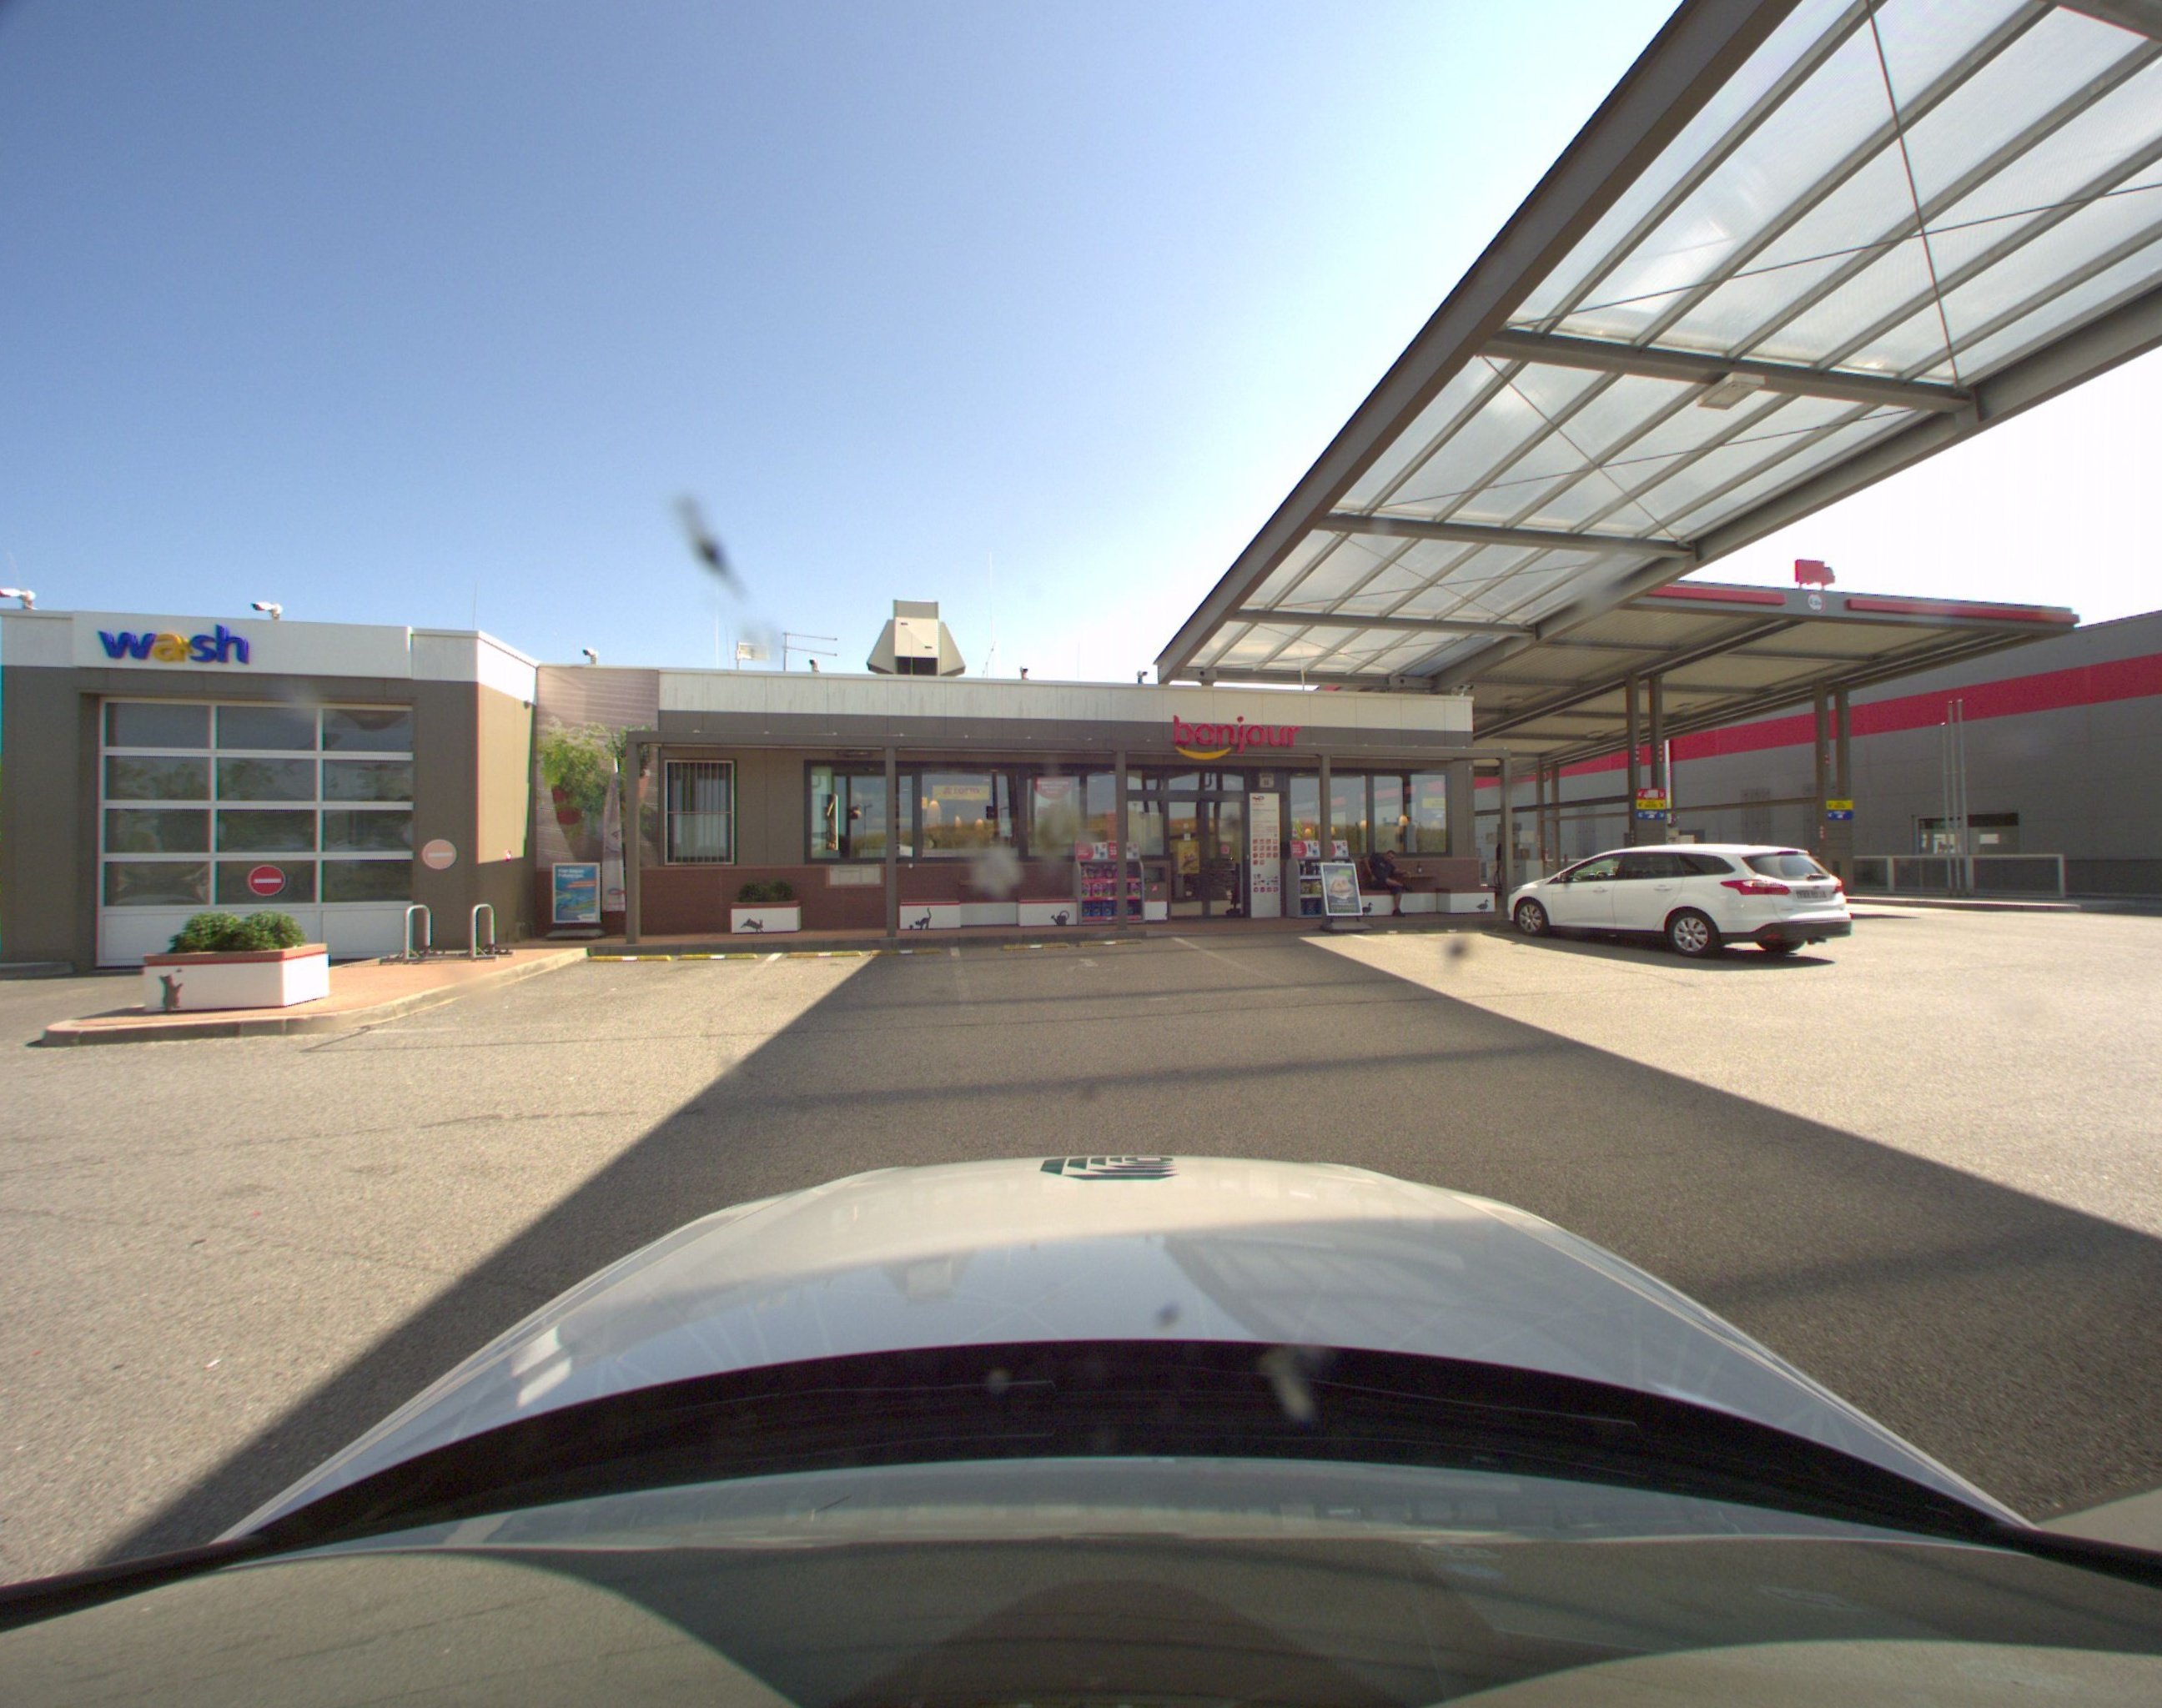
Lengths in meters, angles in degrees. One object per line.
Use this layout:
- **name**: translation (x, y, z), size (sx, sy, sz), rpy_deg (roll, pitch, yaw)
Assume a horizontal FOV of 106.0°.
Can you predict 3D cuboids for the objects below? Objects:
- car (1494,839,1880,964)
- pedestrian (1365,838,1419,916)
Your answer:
- **car**: translation (8.487, 0.563, 11.968), size (1.835, 1.457, 4.296), rpy_deg (-1, 0, -17)
- **pedestrian**: translation (5.954, 0.426, 15.590), size (0.702, 1.432, 0.670), rpy_deg (-1, 0, -13)
